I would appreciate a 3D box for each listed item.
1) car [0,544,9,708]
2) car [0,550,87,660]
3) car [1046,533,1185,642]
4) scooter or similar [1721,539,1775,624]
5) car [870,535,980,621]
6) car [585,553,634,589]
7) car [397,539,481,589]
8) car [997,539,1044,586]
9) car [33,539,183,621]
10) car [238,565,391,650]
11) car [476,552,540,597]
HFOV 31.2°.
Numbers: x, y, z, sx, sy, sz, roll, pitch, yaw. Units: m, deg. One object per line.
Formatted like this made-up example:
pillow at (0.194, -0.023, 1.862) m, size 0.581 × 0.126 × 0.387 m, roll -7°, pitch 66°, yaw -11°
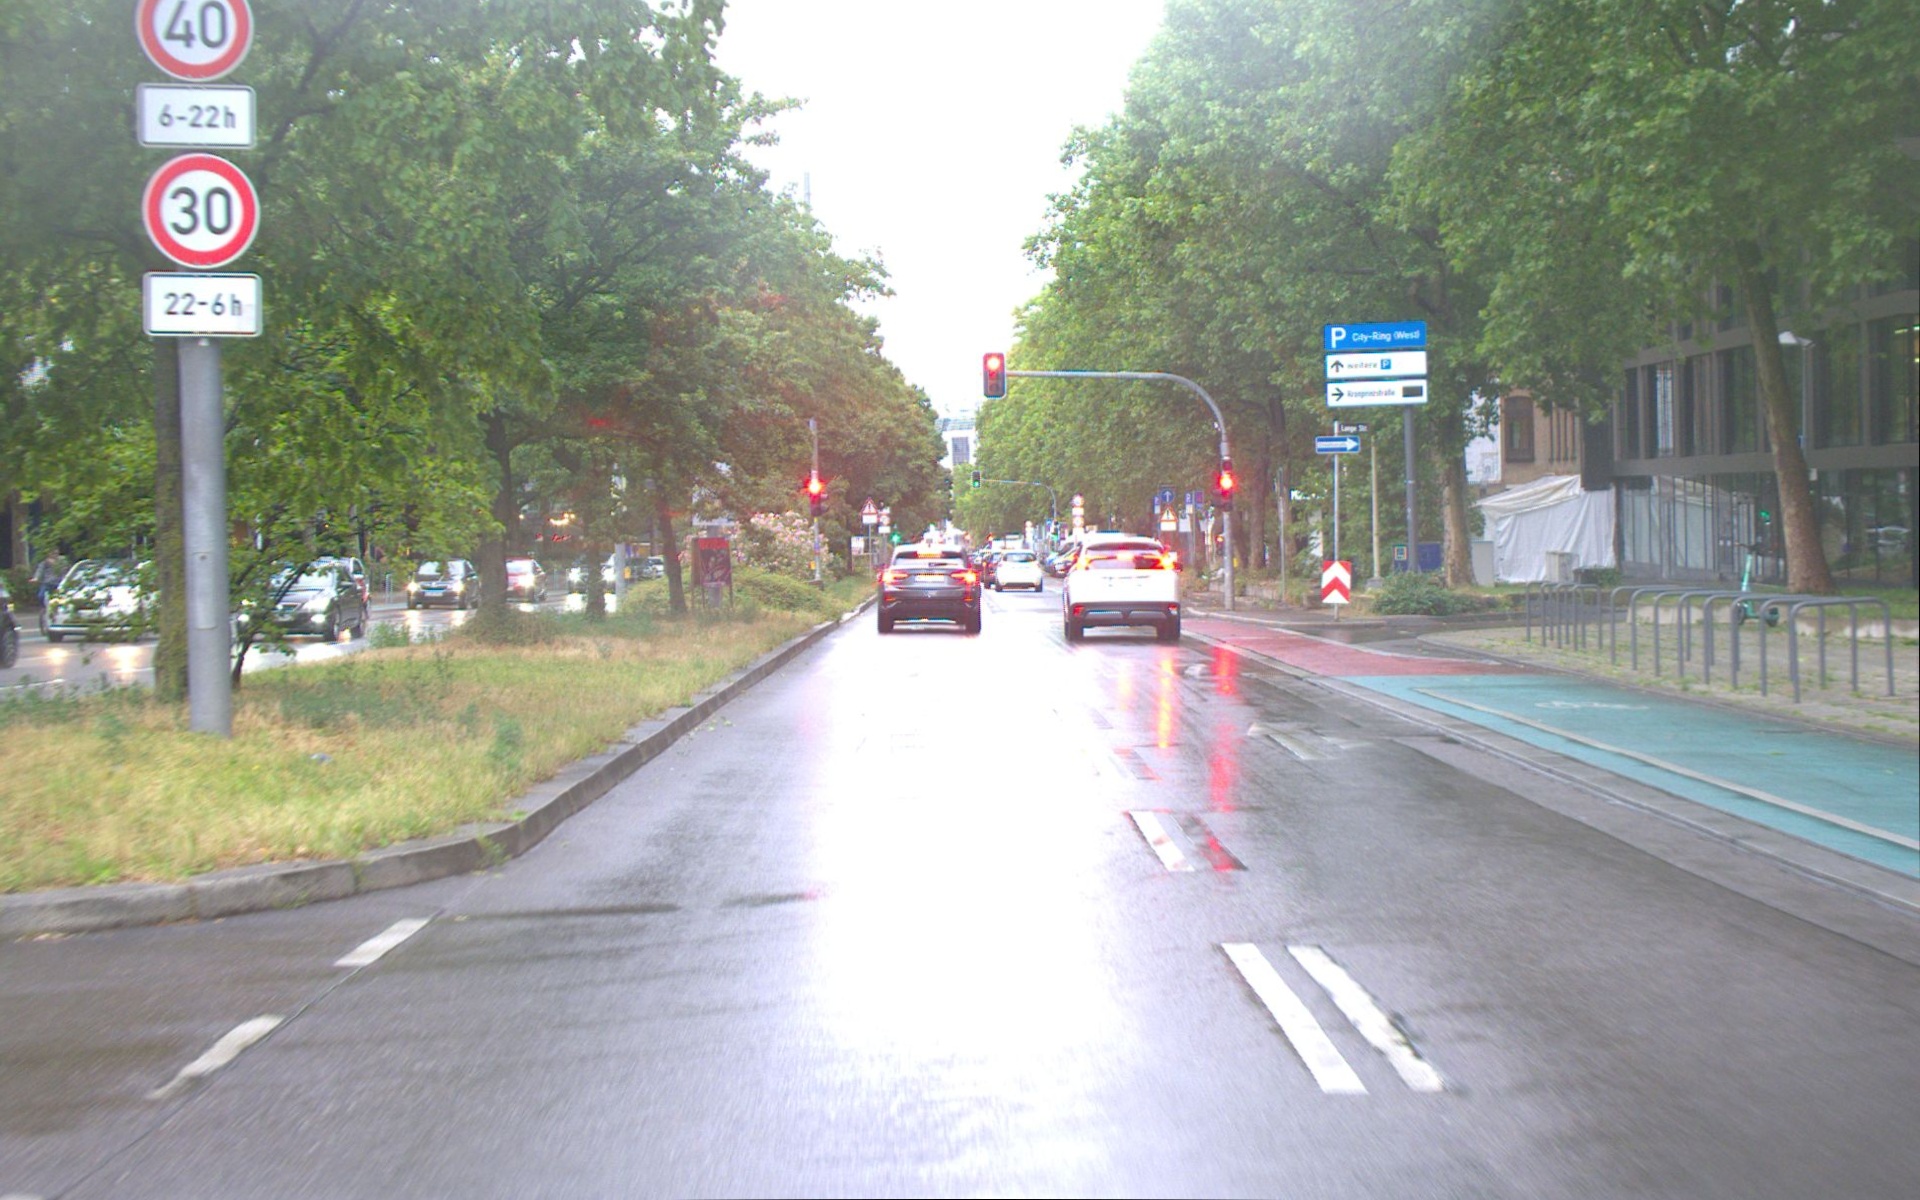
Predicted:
car at (-9.612, 0.309, 29.284) m, size 1.843 × 1.477 × 4.397 m, roll 0°, pitch 2°, yaw -1°
car at (-13.201, 0.039, 46.945) m, size 1.719 × 1.362 × 3.048 m, roll 0°, pitch 2°, yaw 1°
car at (2.497, -0.247, 56.412) m, size 1.993 × 1.649 × 4.889 m, roll -1°, pitch 2°, yaw -1°
scooter or similar at (11.560, -0.280, 50.416) m, size 0.381 × 1.224 × 1.077 m, roll 0°, pitch 1°, yaw 36°
car at (-0.631, -0.425, 61.908) m, size 1.918 × 1.486 × 4.000 m, roll 0°, pitch 1°, yaw -1°
car at (-13.873, -1.168, 136.214) m, size 1.614 × 1.389 × 3.598 m, roll 0°, pitch 1°, yaw -1°
car at (-14.880, -1.049, 98.320) m, size 1.843 × 1.384 × 4.000 m, roll 0°, pitch 1°, yaw -1°
car at (2.248, -1.425, 128.381) m, size 1.620 × 1.660 × 4.000 m, roll -1°, pitch 1°, yaw -1°
car at (-15.417, -0.390, 62.398) m, size 1.843 × 1.424 × 3.643 m, roll 0°, pitch 1°, yaw -1°
car at (-11.656, 0.126, 62.295) m, size 1.749 × 1.471 × 4.095 m, roll 1°, pitch 0°, yaw 4°
car at (-14.938, -0.868, 113.796) m, size 1.614 × 1.389 × 4.185 m, roll -1°, pitch 2°, yaw -1°
